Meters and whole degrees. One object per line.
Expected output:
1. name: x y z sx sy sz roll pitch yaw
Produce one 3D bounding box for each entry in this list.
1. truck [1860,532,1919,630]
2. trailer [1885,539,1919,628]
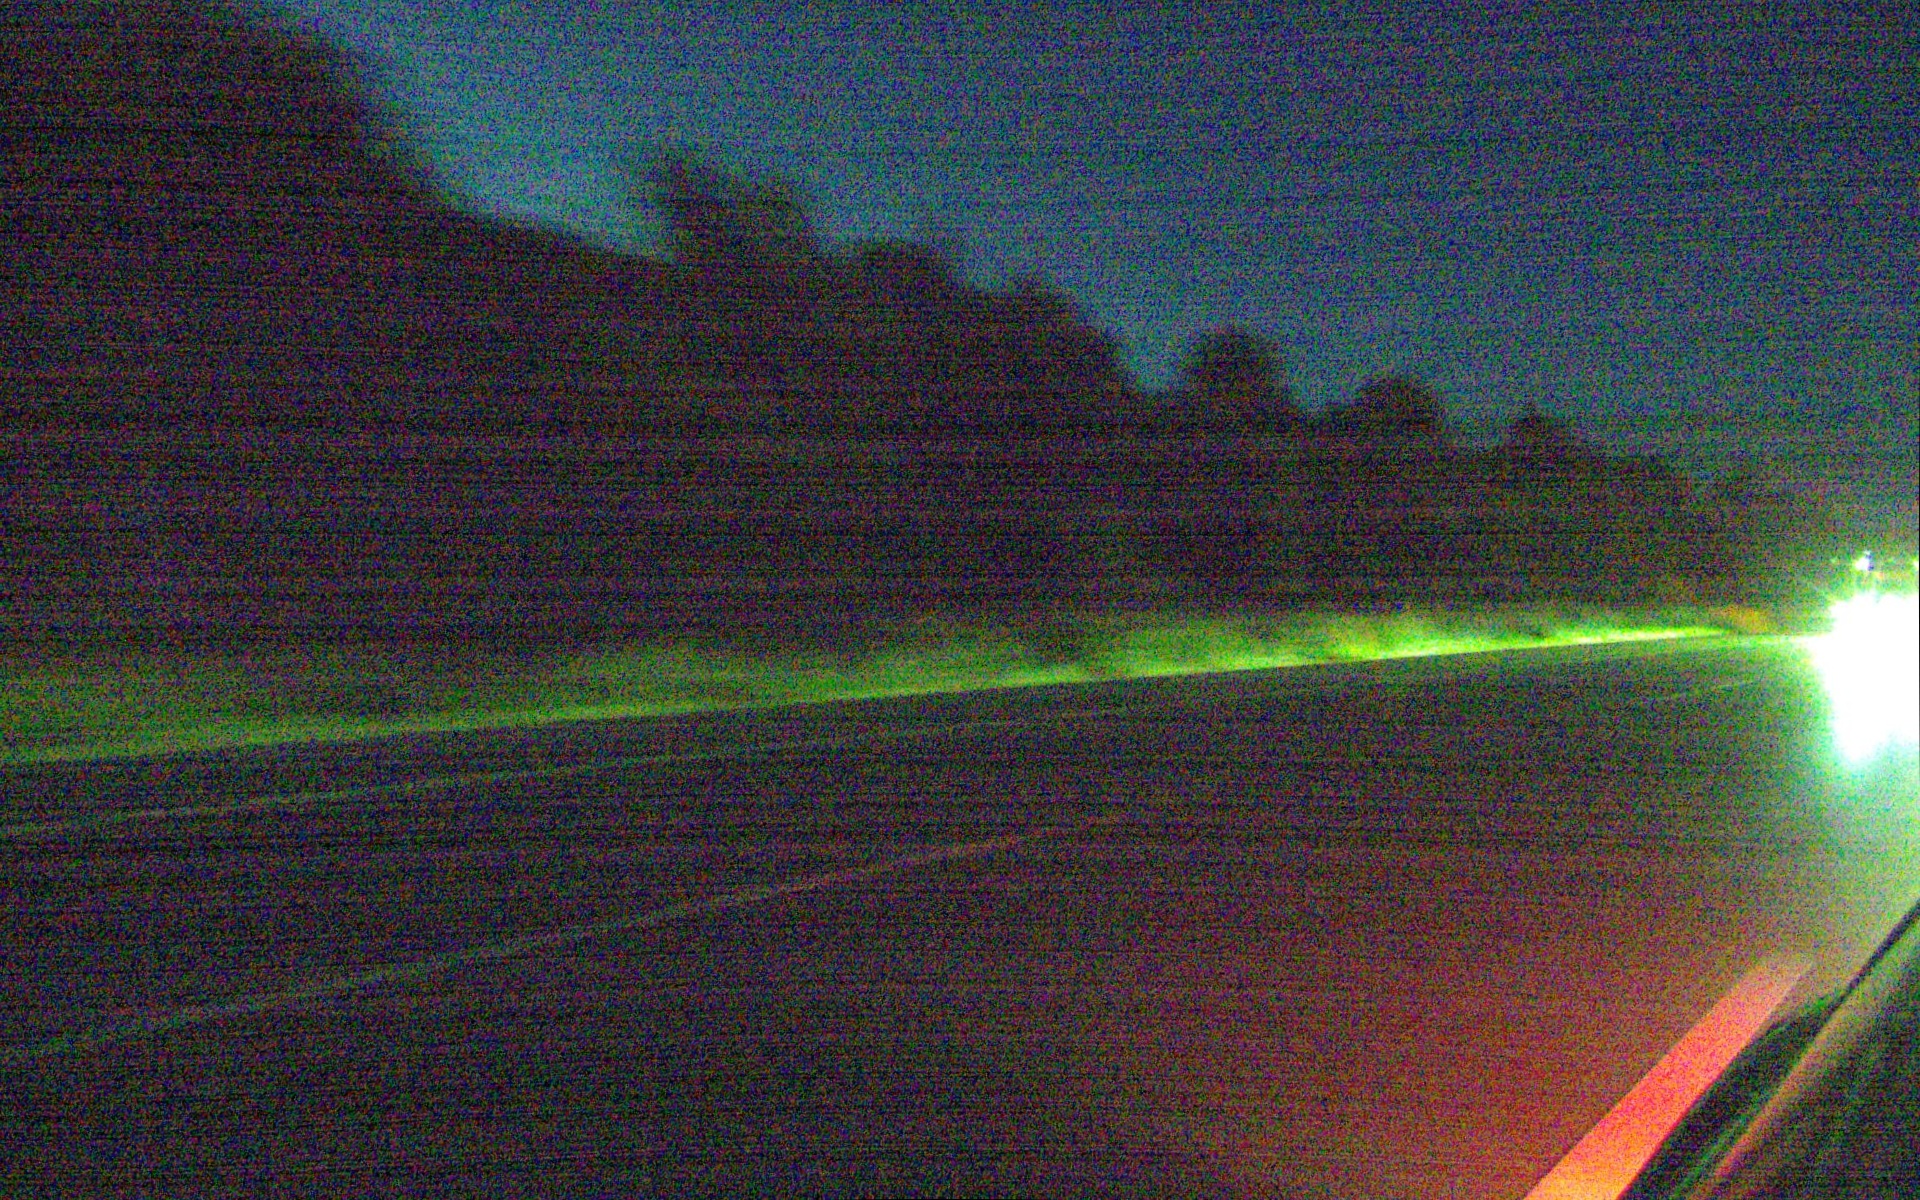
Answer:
1. truck: 42.873 -0.791 45.443 7.536 4.124 2.596 0 0 -40
2. trailer: 48.482 -0.754 50.142 9.829 4.124 2.596 0 0 -40
